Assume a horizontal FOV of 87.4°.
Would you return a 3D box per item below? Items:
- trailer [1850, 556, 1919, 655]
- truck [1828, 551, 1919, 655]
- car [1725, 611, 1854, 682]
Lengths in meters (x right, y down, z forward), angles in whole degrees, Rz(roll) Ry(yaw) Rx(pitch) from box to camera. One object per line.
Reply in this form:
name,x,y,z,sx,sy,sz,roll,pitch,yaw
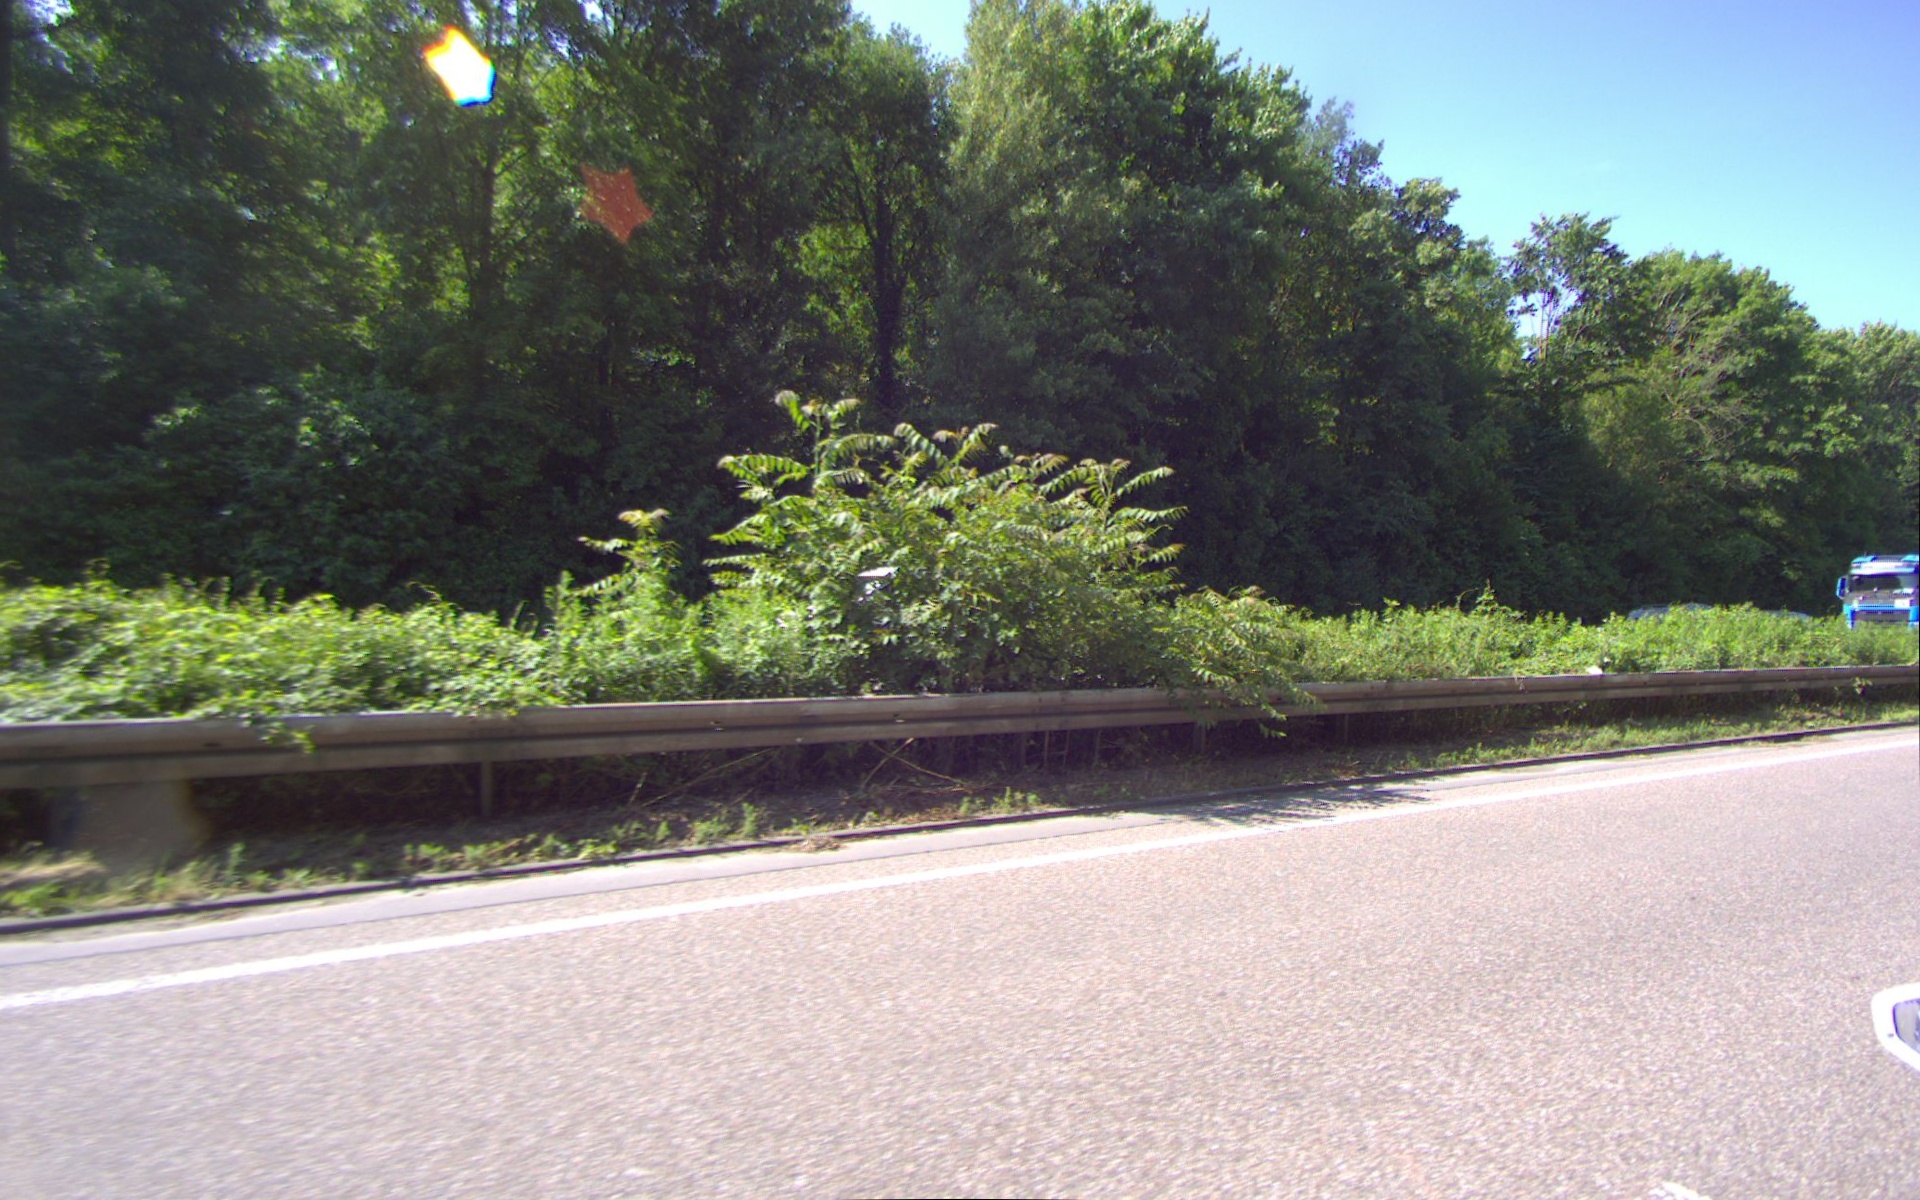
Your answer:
trailer,39.497,0.276,40.795,7.890,3.761,2.675,1,0,-30
truck,35.969,0.145,38.702,3.953,3.755,2.633,1,0,-30
car,20.962,1.122,25.351,3.471,1.684,1.442,0,-1,-31
